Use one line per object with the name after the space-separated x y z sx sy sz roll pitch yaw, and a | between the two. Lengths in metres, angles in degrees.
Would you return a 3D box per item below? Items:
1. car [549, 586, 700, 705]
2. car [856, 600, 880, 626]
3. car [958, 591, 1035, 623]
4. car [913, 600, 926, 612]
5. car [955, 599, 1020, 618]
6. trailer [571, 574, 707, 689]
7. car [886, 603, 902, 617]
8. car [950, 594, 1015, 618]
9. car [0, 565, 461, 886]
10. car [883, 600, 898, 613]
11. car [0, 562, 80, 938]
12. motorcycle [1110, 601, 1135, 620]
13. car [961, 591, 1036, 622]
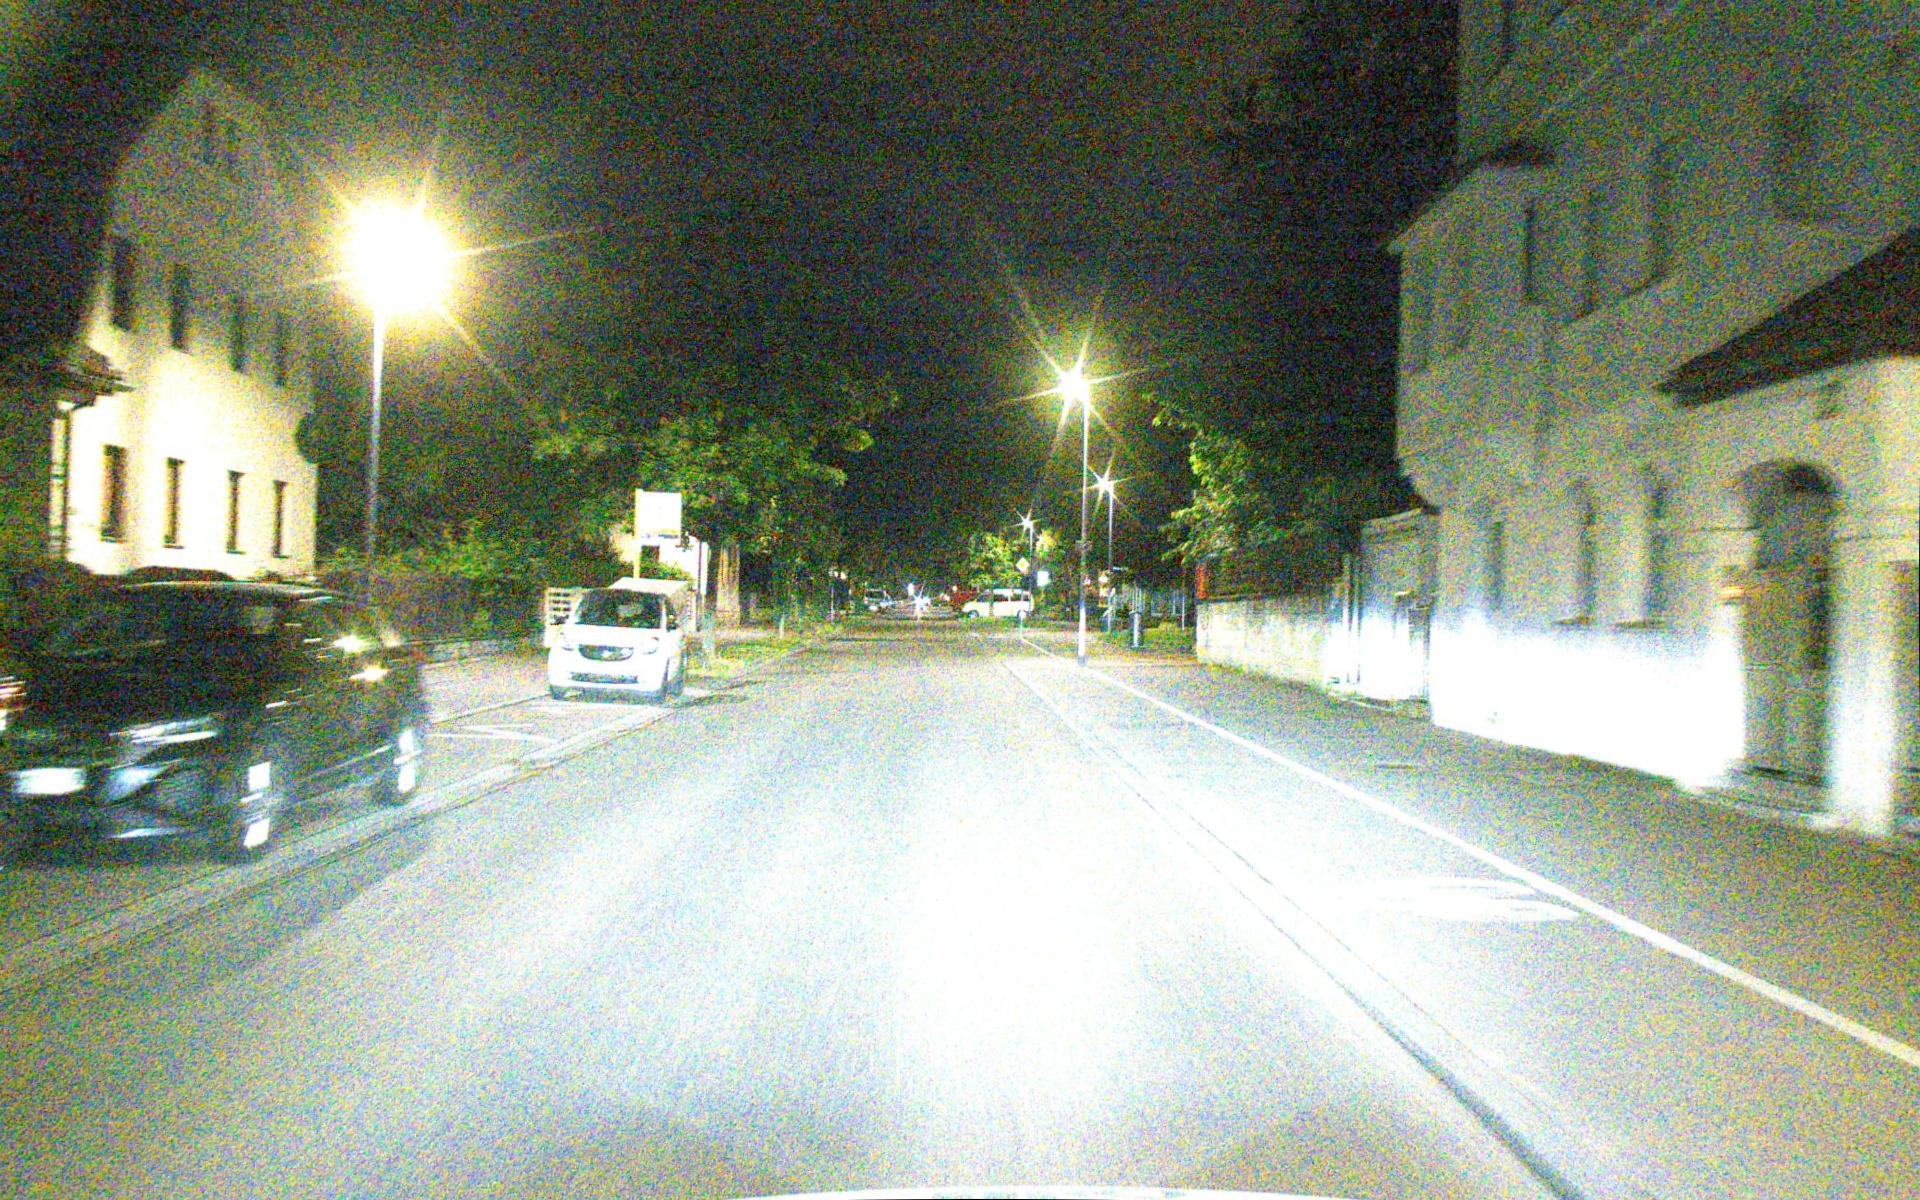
-4.854 0.631 24.299 1.638 1.548 2.977 3 0 -2 | car
-7.401 1.020 134.001 1.788 2.021 4.463 3 0 -2 | car
2.417 0.463 110.708 5.078 2.049 2.101 -1 0 -3 | car
-6.143 0.922 252.869 1.888 1.677 3.819 0 0 -2 | car
2.180 0.692 132.754 5.078 1.495 2.101 -1 0 -3 | car
-5.279 0.502 27.523 1.418 1.717 3.426 3 0 1 | trailer
-6.641 0.976 166.212 1.649 1.354 3.598 1 0 -2 | car
1.840 0.478 135.466 5.072 1.920 2.103 -1 0 8 | car
-4.608 0.607 10.283 1.730 1.546 4.277 2 0 -1 | car
-7.679 0.728 182.961 1.649 1.354 3.598 1 0 -2 | car
-4.727 0.598 5.176 1.653 1.537 4.278 1 0 0 | car
11.496 0.731 116.886 1.048 1.350 2.706 1 1 22 | motorcycle
2.624 0.431 113.777 5.078 2.049 2.101 -1 0 -3 | car
